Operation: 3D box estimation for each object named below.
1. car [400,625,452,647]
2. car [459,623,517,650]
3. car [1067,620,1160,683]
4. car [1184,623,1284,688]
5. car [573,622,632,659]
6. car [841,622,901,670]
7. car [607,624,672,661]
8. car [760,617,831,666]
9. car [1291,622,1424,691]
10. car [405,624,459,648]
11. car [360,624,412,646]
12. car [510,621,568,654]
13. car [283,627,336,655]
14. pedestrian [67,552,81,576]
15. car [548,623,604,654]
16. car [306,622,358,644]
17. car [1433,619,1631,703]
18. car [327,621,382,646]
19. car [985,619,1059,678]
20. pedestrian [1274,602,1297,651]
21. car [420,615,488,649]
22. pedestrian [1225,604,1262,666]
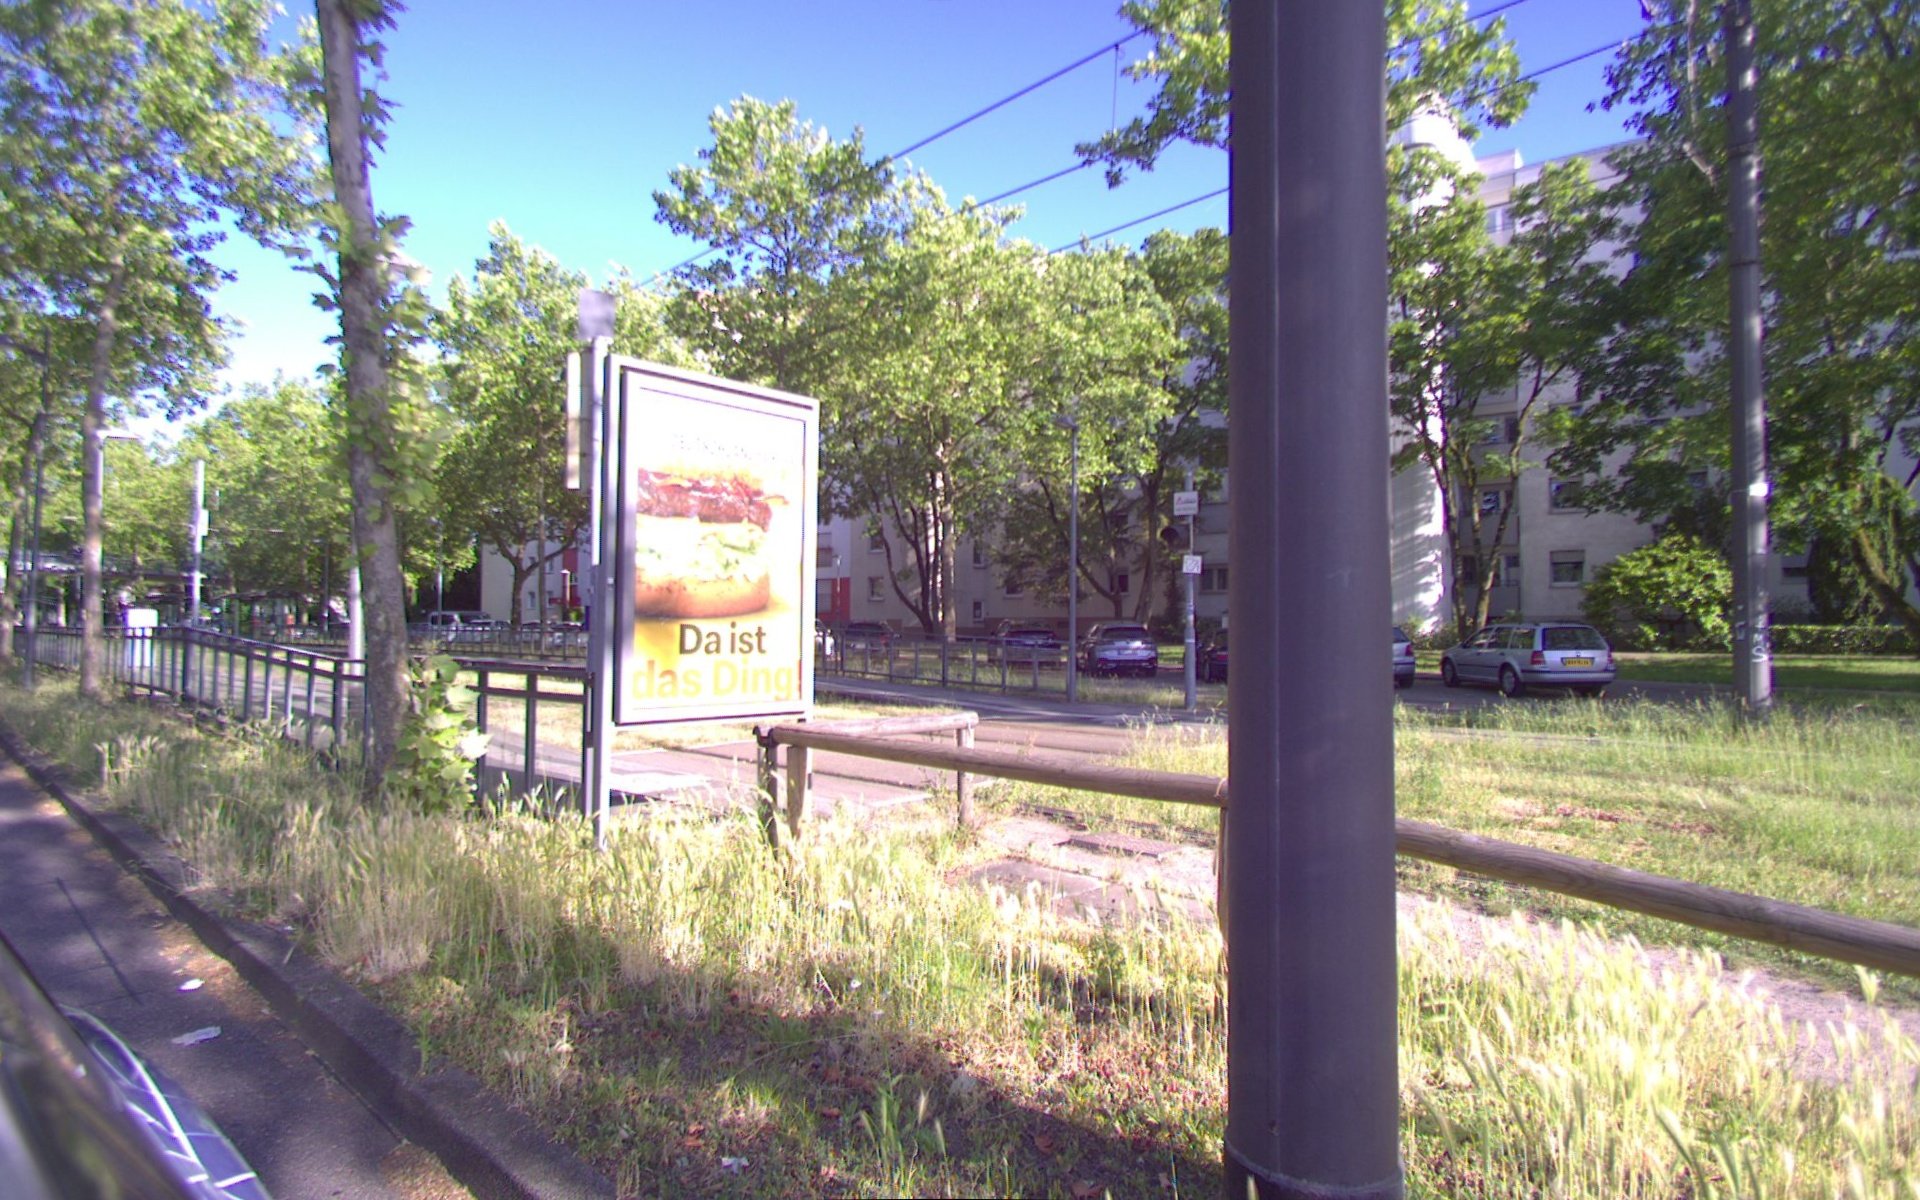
[{"bbox_3d":[-33.023,2.208,62.686,1.459,1.311,3.488,0,-1,-1],"label":"car"},{"bbox_3d":[-25.877,2.002,55.570,1.605,1.414,3.488,0,-1,-1],"label":"car"},{"bbox_3d":[4.110,1.337,27.709,1.650,1.469,4.004,-1,0,-4],"label":"car"},{"bbox_3d":[6.756,1.322,25.334,1.572,1.360,3.922,-1,0,3],"label":"car"},{"bbox_3d":[-16.592,1.852,47.108,1.445,1.519,3.393,-1,0,3],"label":"car"},{"bbox_3d":[-2.995,1.543,34.664,1.538,1.439,3.761,-1,0,3],"label":"car"},{"bbox_3d":[-14.019,1.842,44.480,1.470,1.425,3.880,-1,0,3],"label":"car"},{"bbox_3d":[-5.985,1.487,37.214,1.791,1.607,3.997,-1,0,3],"label":"car"},{"bbox_3d":[9.125,1.252,23.545,1.553,1.431,3.620,-1,-1,-1],"label":"car"},{"bbox_3d":[-30.933,2.091,59.377,1.459,1.354,3.488,0,-1,-1],"label":"car"},{"bbox_3d":[-37.400,2.270,66.020,1.459,1.330,3.488,0,-1,-1],"label":"car"},{"bbox_3d":[-21.153,1.879,51.005,1.539,1.436,3.489,-3,0,-2],"label":"car"},{"bbox_3d":[-38.569,2.403,59.982,1.785,1.534,4.333,1,-2,-45],"label":"car"},{"bbox_3d":[-68.752,-2.788,78.543,0.511,1.898,0.728,-1,0,40],"label":"pedestrian"},{"bbox_3d":[-18.710,1.863,49.420,1.459,1.339,3.488,-2,0,-1],"label":"car"},{"bbox_3d":[-44.938,2.341,72.503,1.578,1.538,3.737,0,-1,-3],"label":"car"},{"bbox_3d":[11.531,1.165,20.738,1.685,1.454,3.978,-1,0,-2],"label":"car"},{"bbox_3d":[-40.578,2.221,67.931,1.578,1.582,3.830,0,-1,-3],"label":"car"},{"bbox_3d":[1.755,1.363,29.795,1.669,1.499,4.003,-1,0,-4],"label":"car"},{"bbox_3d":[11.781,0.965,36.632,0.634,1.770,0.516,-1,-2,39],"label":"pedestrian"},{"bbox_3d":[-28.418,1.797,56.977,1.843,1.826,4.047,0,-1,0],"label":"car"},{"bbox_3d":[8.210,1.005,29.335,0.755,1.770,0.752,-2,-2,41],"label":"pedestrian"}]
